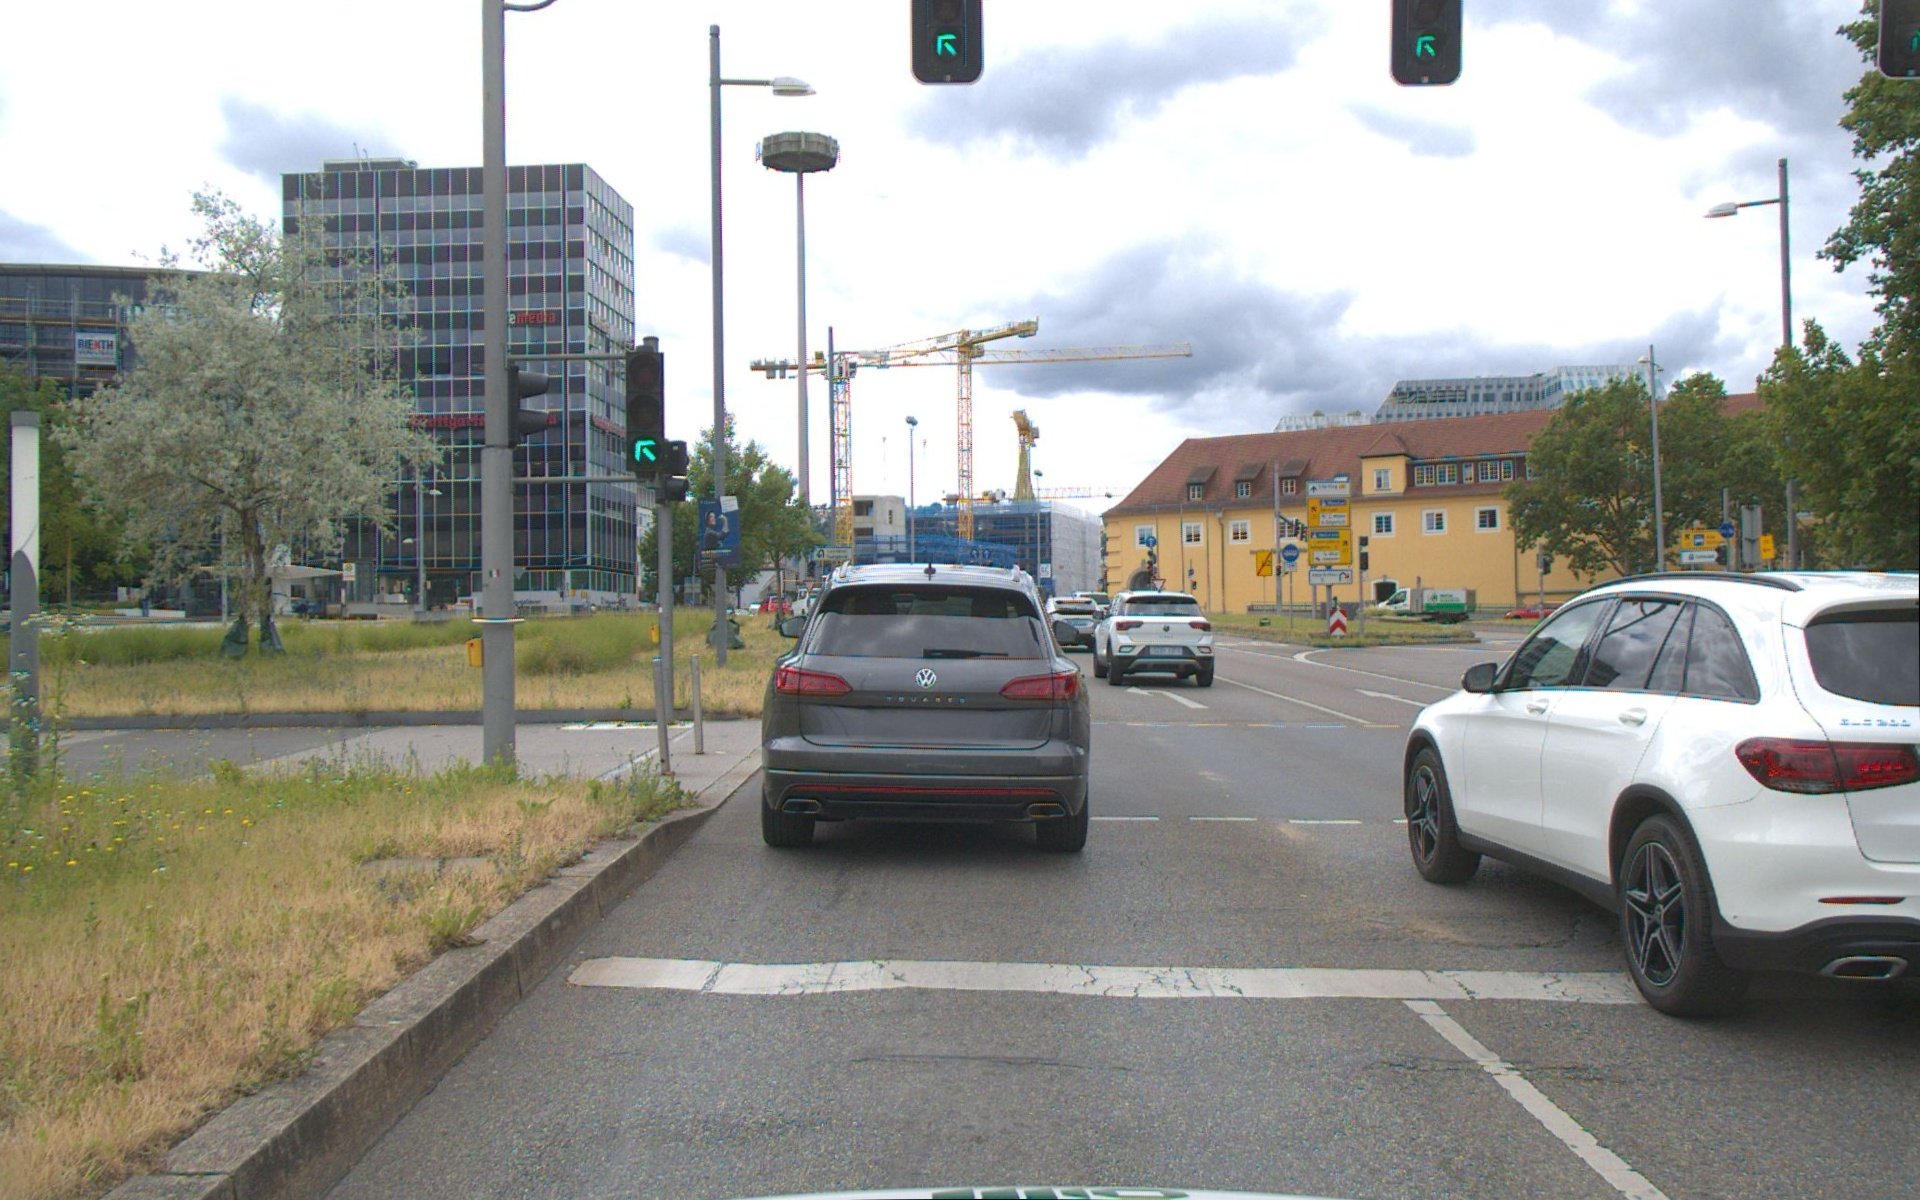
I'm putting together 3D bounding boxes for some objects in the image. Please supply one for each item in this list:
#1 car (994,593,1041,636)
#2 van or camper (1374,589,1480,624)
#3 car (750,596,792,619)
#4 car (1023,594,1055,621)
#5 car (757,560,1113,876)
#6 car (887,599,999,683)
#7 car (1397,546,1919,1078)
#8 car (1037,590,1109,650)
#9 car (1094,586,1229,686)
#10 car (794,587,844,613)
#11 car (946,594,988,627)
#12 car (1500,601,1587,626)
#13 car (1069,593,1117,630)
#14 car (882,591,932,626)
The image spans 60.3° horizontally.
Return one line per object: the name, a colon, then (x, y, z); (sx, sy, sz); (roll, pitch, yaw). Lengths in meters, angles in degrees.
car: (2.129, 0.513, 60.913); (1.683, 1.529, 3.982); (0, 0, 2)
van or camper: (28.394, 0.393, 100.725); (5.902, 2.049, 2.012); (0, -1, 35)
car: (-12.570, 0.486, 109.914); (1.696, 1.529, 3.952); (0, 0, -23)
car: (4.561, 0.433, 95.355); (1.683, 1.529, 3.981); (0, 0, 0)
car: (-0.155, 0.615, 10.810); (1.893, 1.676, 3.999); (0, 0, -1)
car: (-0.320, 0.711, 30.953); (1.953, 1.411, 4.000); (0, 1, -1)
car: (3.476, 0.656, 7.435); (1.782, 1.676, 4.378); (0, 0, -1)
car: (3.003, 0.501, 44.574); (1.683, 1.529, 4.144); (0, 0, 0)
car: (3.419, 0.573, 28.719); (1.855, 1.613, 3.800); (0, 0, -1)
car: (-8.494, -0.027, 99.269); (2.208, 1.529, 4.591); (0, 0, -16)
car: (0.322, 0.479, 80.301); (1.778, 1.522, 3.904); (-1, 1, -3)
car: (34.159, 0.779, 96.842); (4.592, 1.445, 1.593); (0, -1, 31)
car: (5.645, 0.450, 70.436); (1.766, 1.529, 3.981); (0, 0, 0)
car: (-2.409, 0.373, 74.769); (1.781, 1.522, 3.897); (0, 0, -9)
